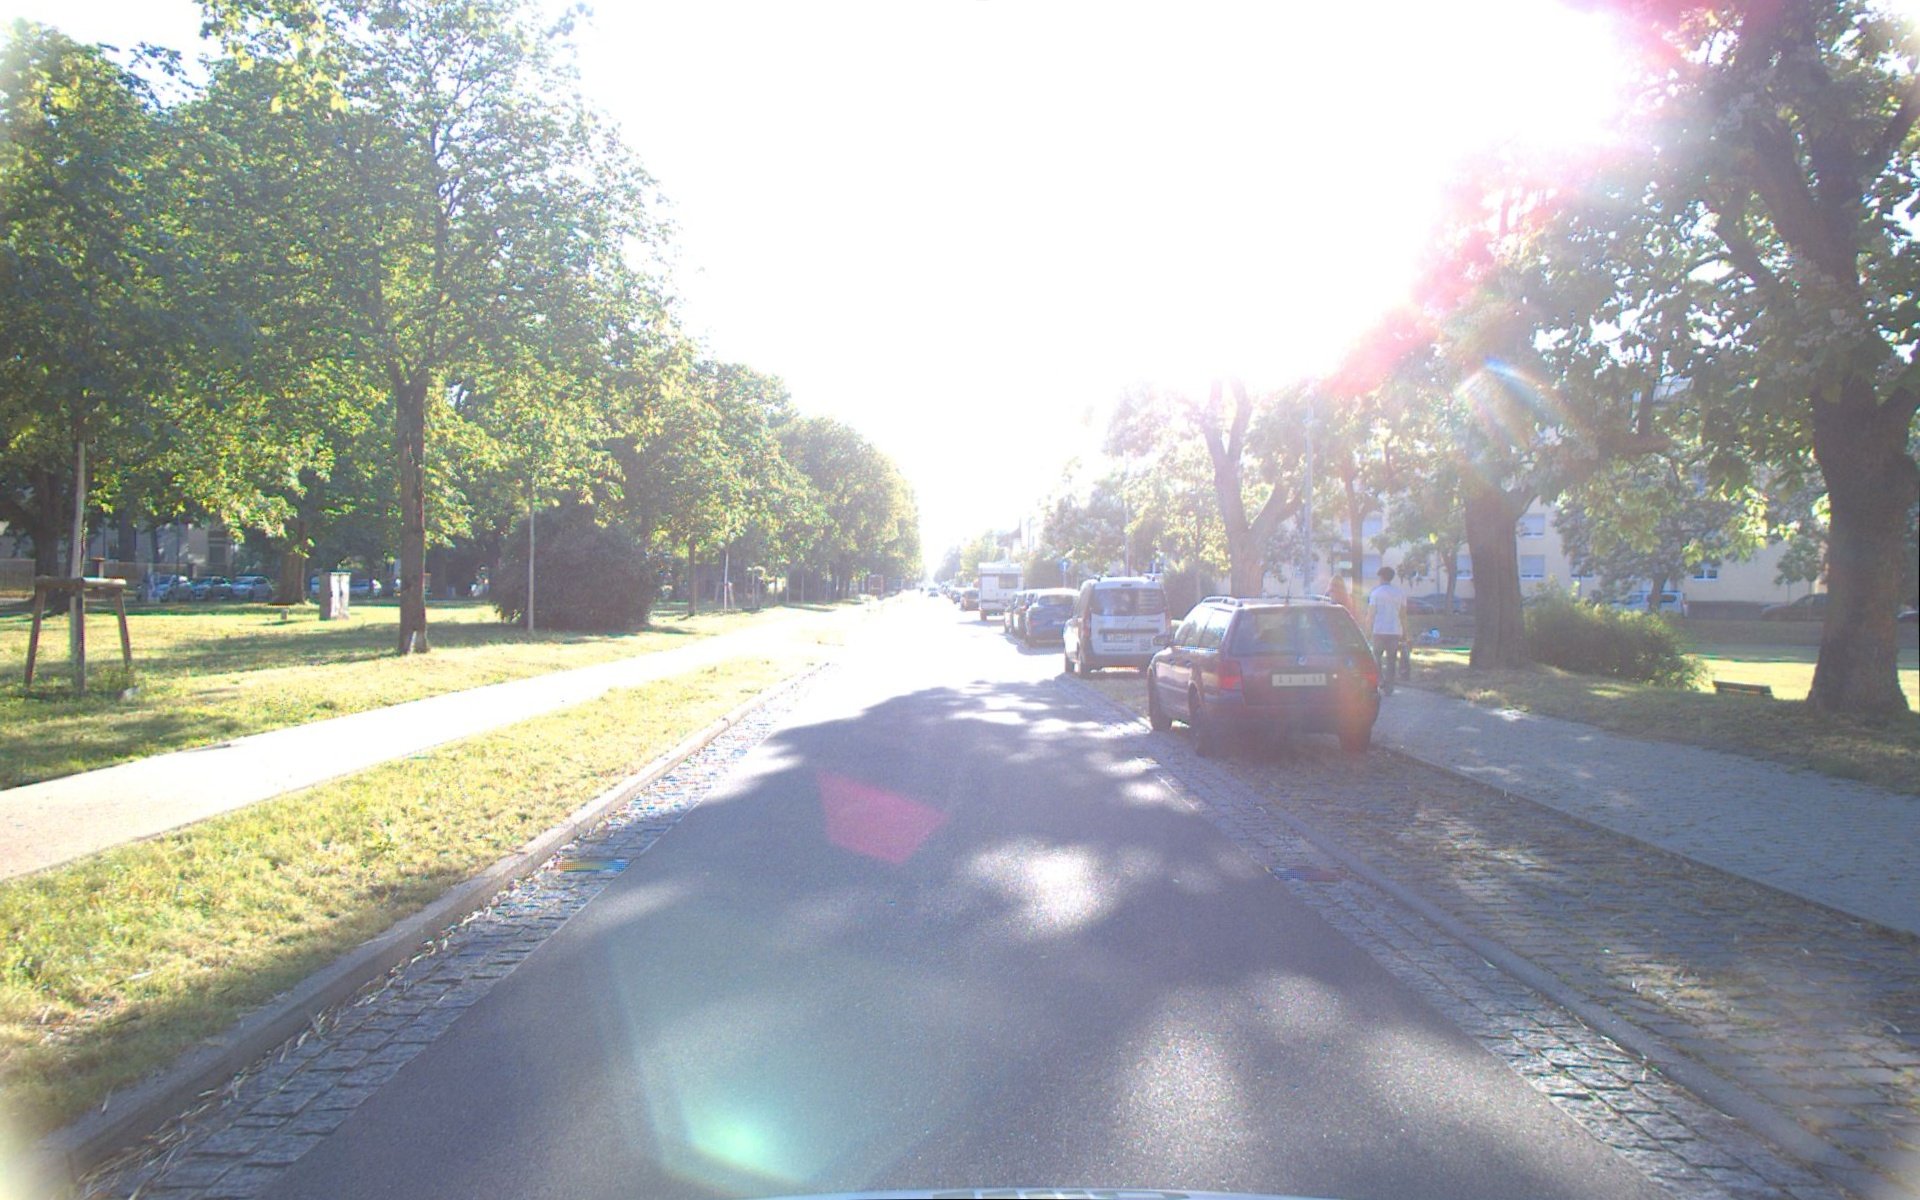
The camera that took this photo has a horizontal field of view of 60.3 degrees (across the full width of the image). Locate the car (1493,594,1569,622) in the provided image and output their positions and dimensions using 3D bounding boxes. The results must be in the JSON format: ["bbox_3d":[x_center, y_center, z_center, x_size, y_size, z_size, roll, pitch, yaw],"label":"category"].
[{"bbox_3d":[32.467,0.455,94.096,3.909,1.579,1.609,0,0,27],"label":"car"}]

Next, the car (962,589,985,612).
[{"bbox_3d":[1.033,0.010,125.478,1.593,1.698,4.248,0,0,-1],"label":"car"}]

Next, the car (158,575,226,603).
[{"bbox_3d":[-43.119,-0.626,92.940,1.953,1.534,4.000,0,0,0],"label":"car"}]

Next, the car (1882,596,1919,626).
[{"bbox_3d":[48.482,0.545,82.168,1.862,1.478,4.307,0,0,-38],"label":"car"}]

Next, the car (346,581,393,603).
[{"bbox_3d":[-42.816,-0.567,120.000,1.953,1.534,4.115,0,0,0],"label":"car"}]

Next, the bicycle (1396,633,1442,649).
[{"bbox_3d":[20.459,1.838,73.712,1.730,0.625,1.811,1,0,23],"label":"bicycle"}]

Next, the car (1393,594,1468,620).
[{"bbox_3d":[29.154,0.422,102.520,4.416,1.597,1.881,0,0,18],"label":"car"}]

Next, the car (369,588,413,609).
[{"bbox_3d":[-43.339,-0.127,125.983,1.953,1.534,4.115,0,0,0],"label":"car"}]

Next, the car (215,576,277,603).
[{"bbox_3d":[-42.738,-0.613,99.102,1.953,1.534,4.115,0,0,0],"label":"car"}]

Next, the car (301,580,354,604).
[{"bbox_3d":[-42.357,-0.517,110.813,1.953,1.534,4.115,0,0,0],"label":"car"}]

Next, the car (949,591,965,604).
[{"bbox_3d":[-0.328,-0.244,179.053,1.593,1.434,4.248,0,0,-1],"label":"car"}]

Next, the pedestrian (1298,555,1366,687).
[{"bbox_3d":[5.106,0.276,22.725,0.738,1.766,0.731,1,0,-1],"label":"pedestrian"}]

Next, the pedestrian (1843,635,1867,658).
[{"bbox_3d":[31.539,1.634,58.284,0.662,0.808,0.578,0,0,-44],"label":"pedestrian"}]

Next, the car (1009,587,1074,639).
[{"bbox_3d":[2.552,0.404,52.912,1.697,1.578,4.420,0,0,-2],"label":"car"}]

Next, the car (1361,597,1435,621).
[{"bbox_3d":[25.750,0.526,97.199,4.108,1.381,1.693,0,0,20],"label":"car"}]

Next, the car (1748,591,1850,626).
[{"bbox_3d":[43.759,0.430,86.331,4.447,1.776,1.869,0,0,43],"label":"car"}]

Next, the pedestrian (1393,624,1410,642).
[{"bbox_3d":[20.589,1.539,77.153,0.598,0.827,0.724,1,0,0],"label":"pedestrian"}]

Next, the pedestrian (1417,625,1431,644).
[{"bbox_3d":[21.359,1.585,76.180,0.463,0.827,0.612,1,0,0],"label":"pedestrian"}]

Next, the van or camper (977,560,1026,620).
[{"bbox_3d":[2.080,-0.455,84.216,2.189,2.955,5.671,0,-1,-1],"label":"van or camper"}]

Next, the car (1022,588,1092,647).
[{"bbox_3d":[2.693,0.464,46.663,1.696,1.578,4.275,0,0,0],"label":"car"}]

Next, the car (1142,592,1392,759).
[{"bbox_3d":[3.058,0.687,17.426,1.644,1.512,4.808,0,0,-1],"label":"car"}]

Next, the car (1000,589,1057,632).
[{"bbox_3d":[2.421,0.381,59.494,1.594,1.489,4.245,0,0,-4],"label":"car"}]

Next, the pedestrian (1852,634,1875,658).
[{"bbox_3d":[32.162,1.637,58.871,0.662,0.808,0.578,0,0,-44],"label":"pedestrian"}]

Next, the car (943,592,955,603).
[{"bbox_3d":[-1.475,-0.342,226.889,1.593,1.434,4.248,0,0,-1],"label":"car"}]

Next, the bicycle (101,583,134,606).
[{"bbox_3d":[-44.392,-0.282,87.188,0.644,1.196,2.332,0,0,-4],"label":"bicycle"}]

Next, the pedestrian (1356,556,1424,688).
[{"bbox_3d":[5.910,0.294,22.764,0.710,1.766,0.731,1,0,0],"label":"pedestrian"}]

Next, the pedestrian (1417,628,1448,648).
[{"bbox_3d":[21.451,1.726,75.063,1.238,0.827,0.570,2,0,45],"label":"pedestrian"}]

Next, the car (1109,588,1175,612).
[{"bbox_3d":[11.674,0.008,106.272,4.107,1.557,2.001,0,0,3],"label":"car"}]

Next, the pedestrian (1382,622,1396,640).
[{"bbox_3d":[19.712,1.418,76.014,0.463,0.827,0.612,1,0,0],"label":"pedestrian"}]

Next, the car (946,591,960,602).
[{"bbox_3d":[-0.905,-0.423,209.503,1.593,1.434,4.248,0,0,-1],"label":"car"}]

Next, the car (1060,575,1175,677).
[{"bbox_3d":[2.894,0.459,31.246,1.644,1.770,4.512,0,0,-1],"label":"car"}]

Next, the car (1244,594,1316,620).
[{"bbox_3d":[19.154,0.407,98.967,4.105,1.488,1.694,0,0,14],"label":"car"}]

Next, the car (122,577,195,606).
[{"bbox_3d":[-42.687,-0.440,88.139,1.953,1.534,4.000,0,0,0],"label":"car"}]

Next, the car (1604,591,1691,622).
[{"bbox_3d":[40.125,0.356,96.564,4.432,1.776,1.875,0,0,34],"label":"car"}]
